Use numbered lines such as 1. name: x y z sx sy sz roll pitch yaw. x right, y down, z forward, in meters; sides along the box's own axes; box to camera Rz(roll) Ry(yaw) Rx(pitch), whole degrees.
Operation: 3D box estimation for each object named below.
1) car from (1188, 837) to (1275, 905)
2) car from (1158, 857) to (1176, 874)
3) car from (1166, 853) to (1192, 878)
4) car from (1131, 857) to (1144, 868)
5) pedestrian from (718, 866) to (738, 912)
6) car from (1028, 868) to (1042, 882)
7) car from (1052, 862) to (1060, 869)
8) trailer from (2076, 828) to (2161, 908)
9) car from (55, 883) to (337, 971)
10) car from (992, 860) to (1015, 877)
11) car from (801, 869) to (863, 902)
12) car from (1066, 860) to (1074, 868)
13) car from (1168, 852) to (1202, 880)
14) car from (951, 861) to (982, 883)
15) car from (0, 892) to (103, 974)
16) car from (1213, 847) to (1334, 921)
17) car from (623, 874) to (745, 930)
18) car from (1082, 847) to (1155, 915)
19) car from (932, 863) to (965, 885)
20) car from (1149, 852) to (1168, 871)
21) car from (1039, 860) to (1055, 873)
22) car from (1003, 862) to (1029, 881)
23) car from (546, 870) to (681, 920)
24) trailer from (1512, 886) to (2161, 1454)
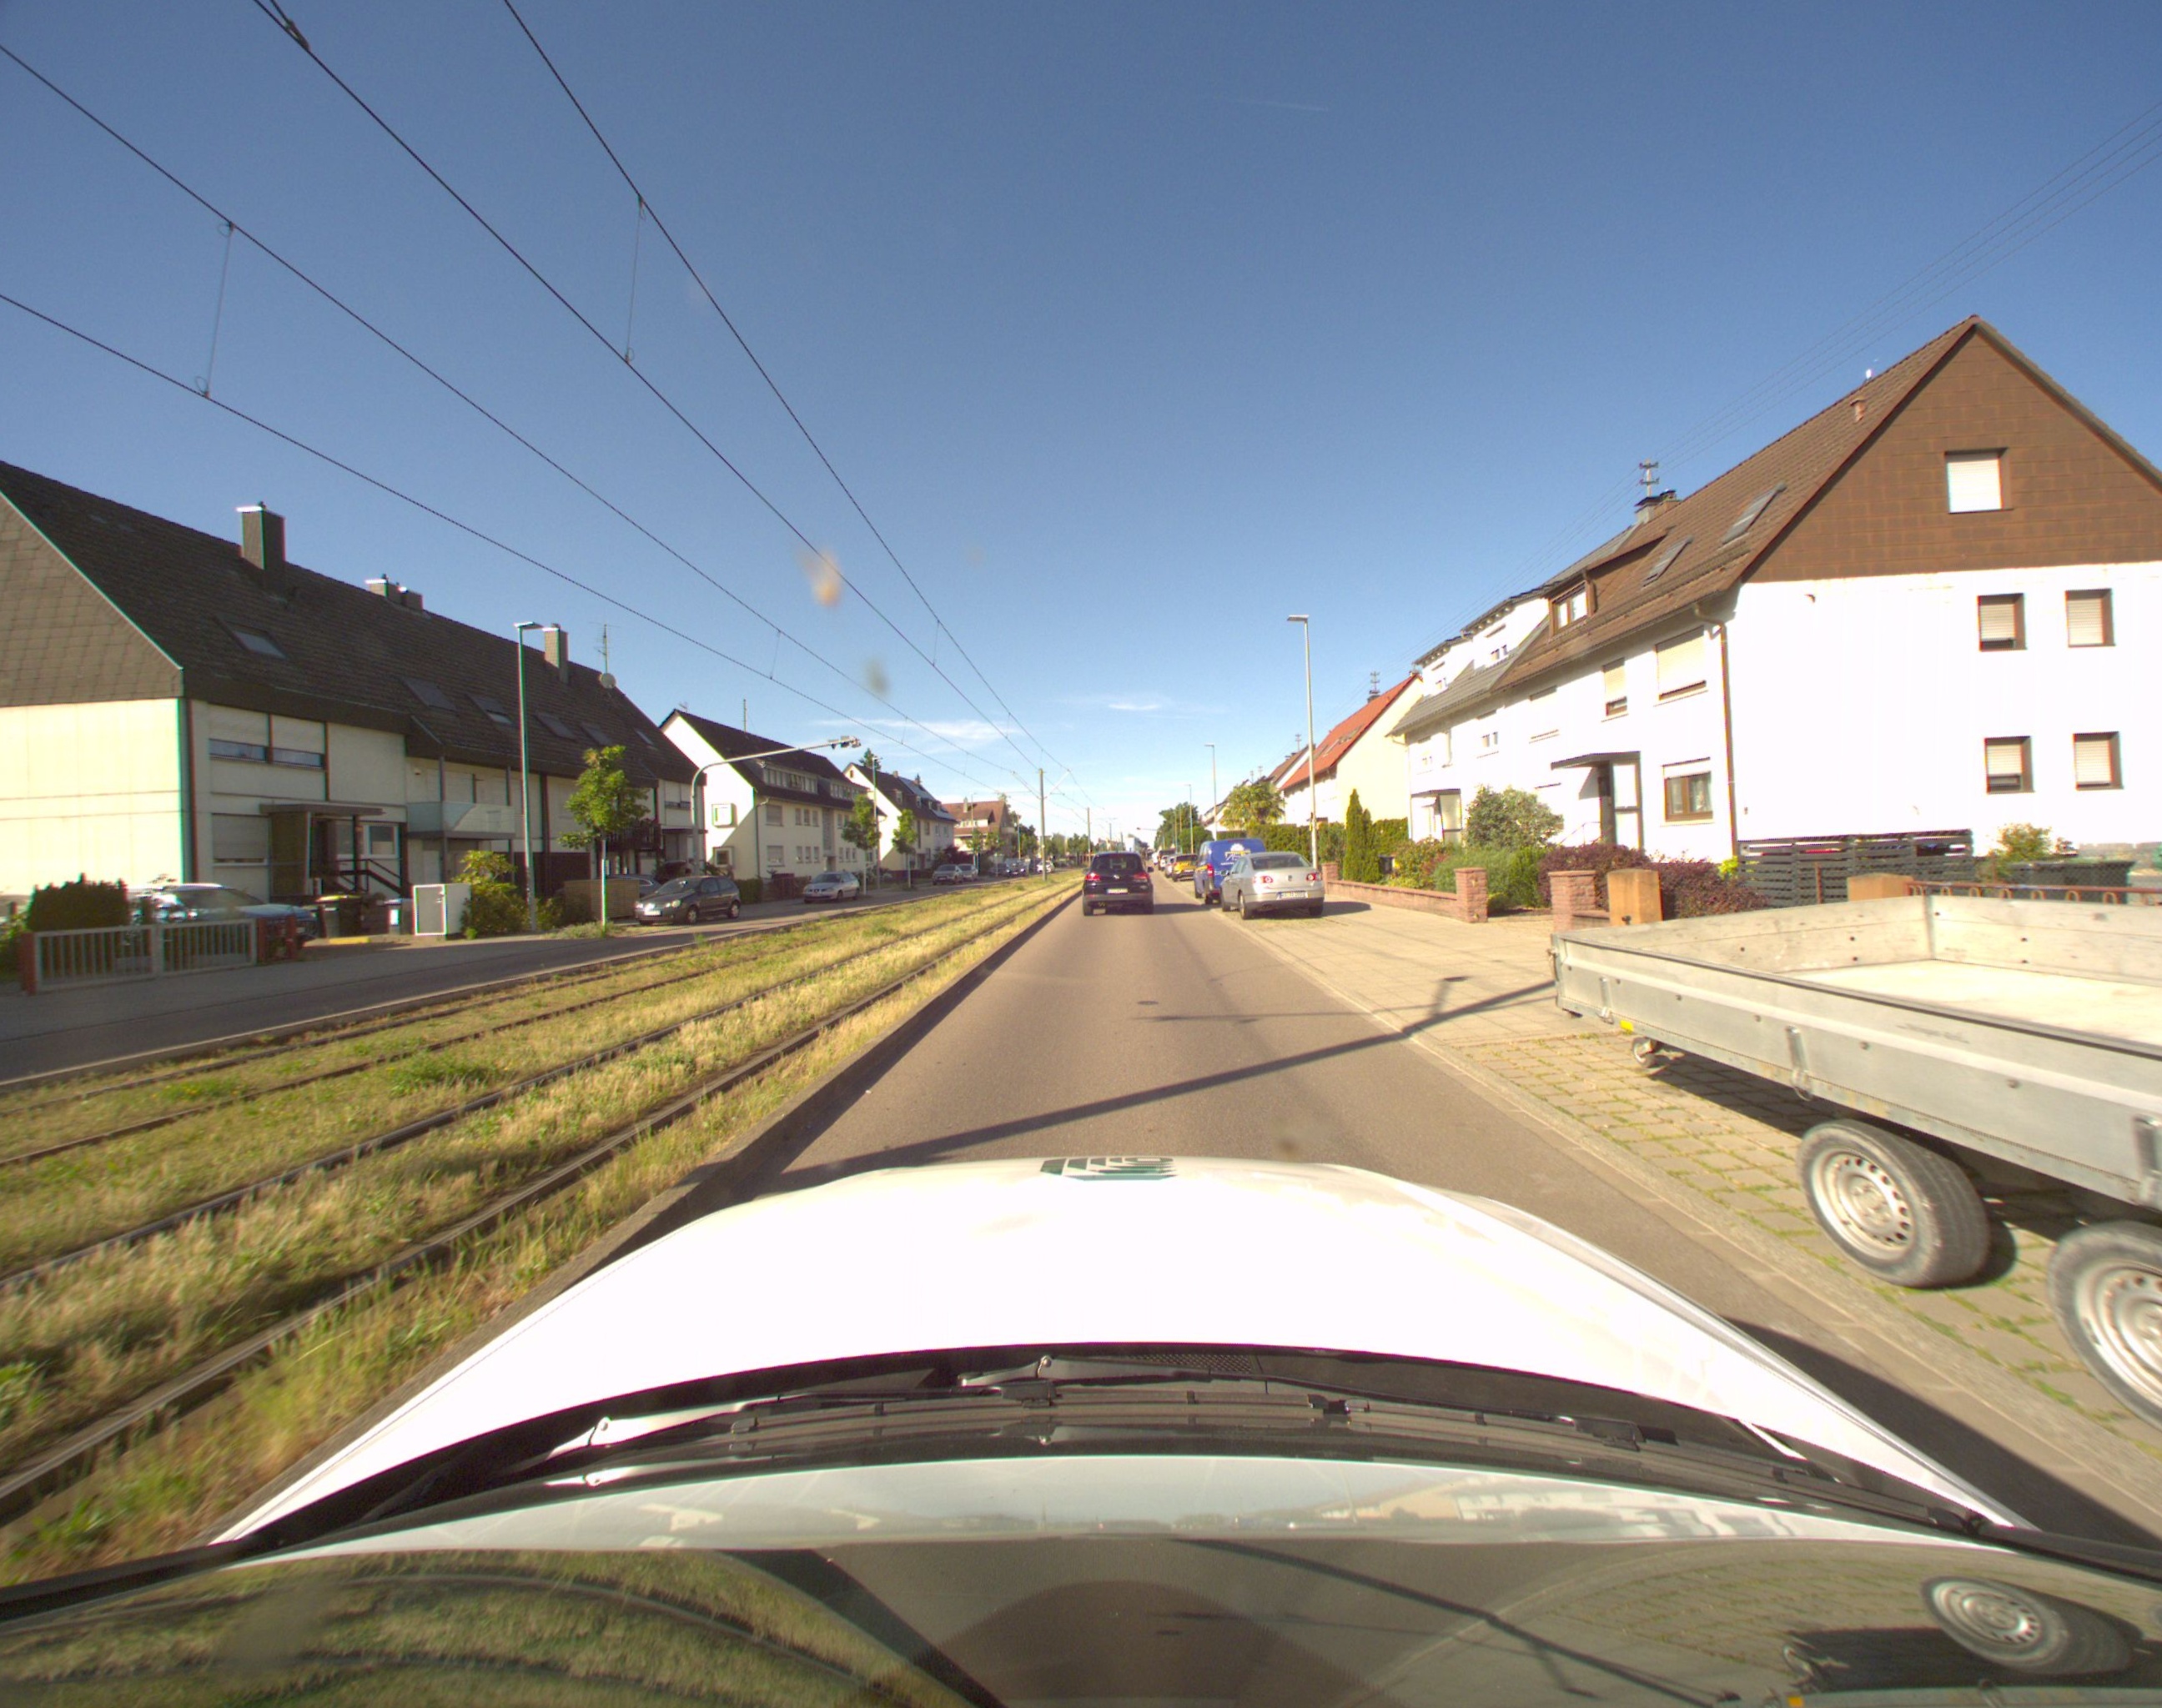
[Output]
1. car: 4.613 0.495 25.690 1.986 1.862 4.920 -3 0 2
2. car: 8.136 1.092 77.225 1.435 1.477 3.868 -3 0 4
3. car: 6.606 0.737 55.096 1.445 1.552 3.833 -3 0 4
4. car: 7.683 1.172 111.301 1.566 1.391 3.616 -3 0 2
5. pedestrian: -13.856 1.369 31.966 0.466 1.746 0.536 -2 -1 2
6. car: -5.988 2.705 106.522 1.459 1.677 3.289 -3 -1 2
7. car: -5.064 2.308 164.779 1.459 1.454 3.289 -3 -1 2
8. trailer: 16.439 0.084 10.536 4.783 1.028 1.646 -3 0 5
9. car: -19.514 1.567 18.108 4.155 1.617 1.758 -2 0 -2
10. car: -7.920 1.539 83.619 1.653 1.581 4.002 -3 -2 3
11. car: -11.661 1.496 38.357 1.612 1.409 3.719 -3 -2 3
12. car: -2.237 2.068 164.839 1.459 1.454 3.218 -3 -1 2
13. car: 6.076 0.711 47.835 1.638 1.534 3.866 -2 -1 2
14. car: -9.478 1.454 67.618 1.796 1.632 4.003 -3 0 3
15. car: -24.882 1.805 18.148 4.139 1.654 1.859 -3 0 5
16. car: 4.399 0.648 19.315 1.780 1.441 4.459 -4 0 0
17. car: -12.369 1.460 25.614 1.610 1.453 3.725 -3 0 7
18. car: 0.936 0.693 22.395 1.806 1.671 4.256 -1 -1 0
19. car: -9.982 1.497 61.468 1.652 1.497 3.582 -3 -1 3
20. car: 7.973 0.722 84.139 1.762 1.844 3.868 -3 0 4
21. car: -3.900 1.454 92.956 1.459 1.454 3.289 -3 -1 2
22. car: -6.147 1.722 77.024 1.866 1.655 4.002 -3 -2 2
23. car: -17.341 1.492 30.351 3.896 1.568 1.731 -3 -1 -5
24. trailer: 3.612 0.792 2.595 2.196 1.094 4.373 -4 -1 1
